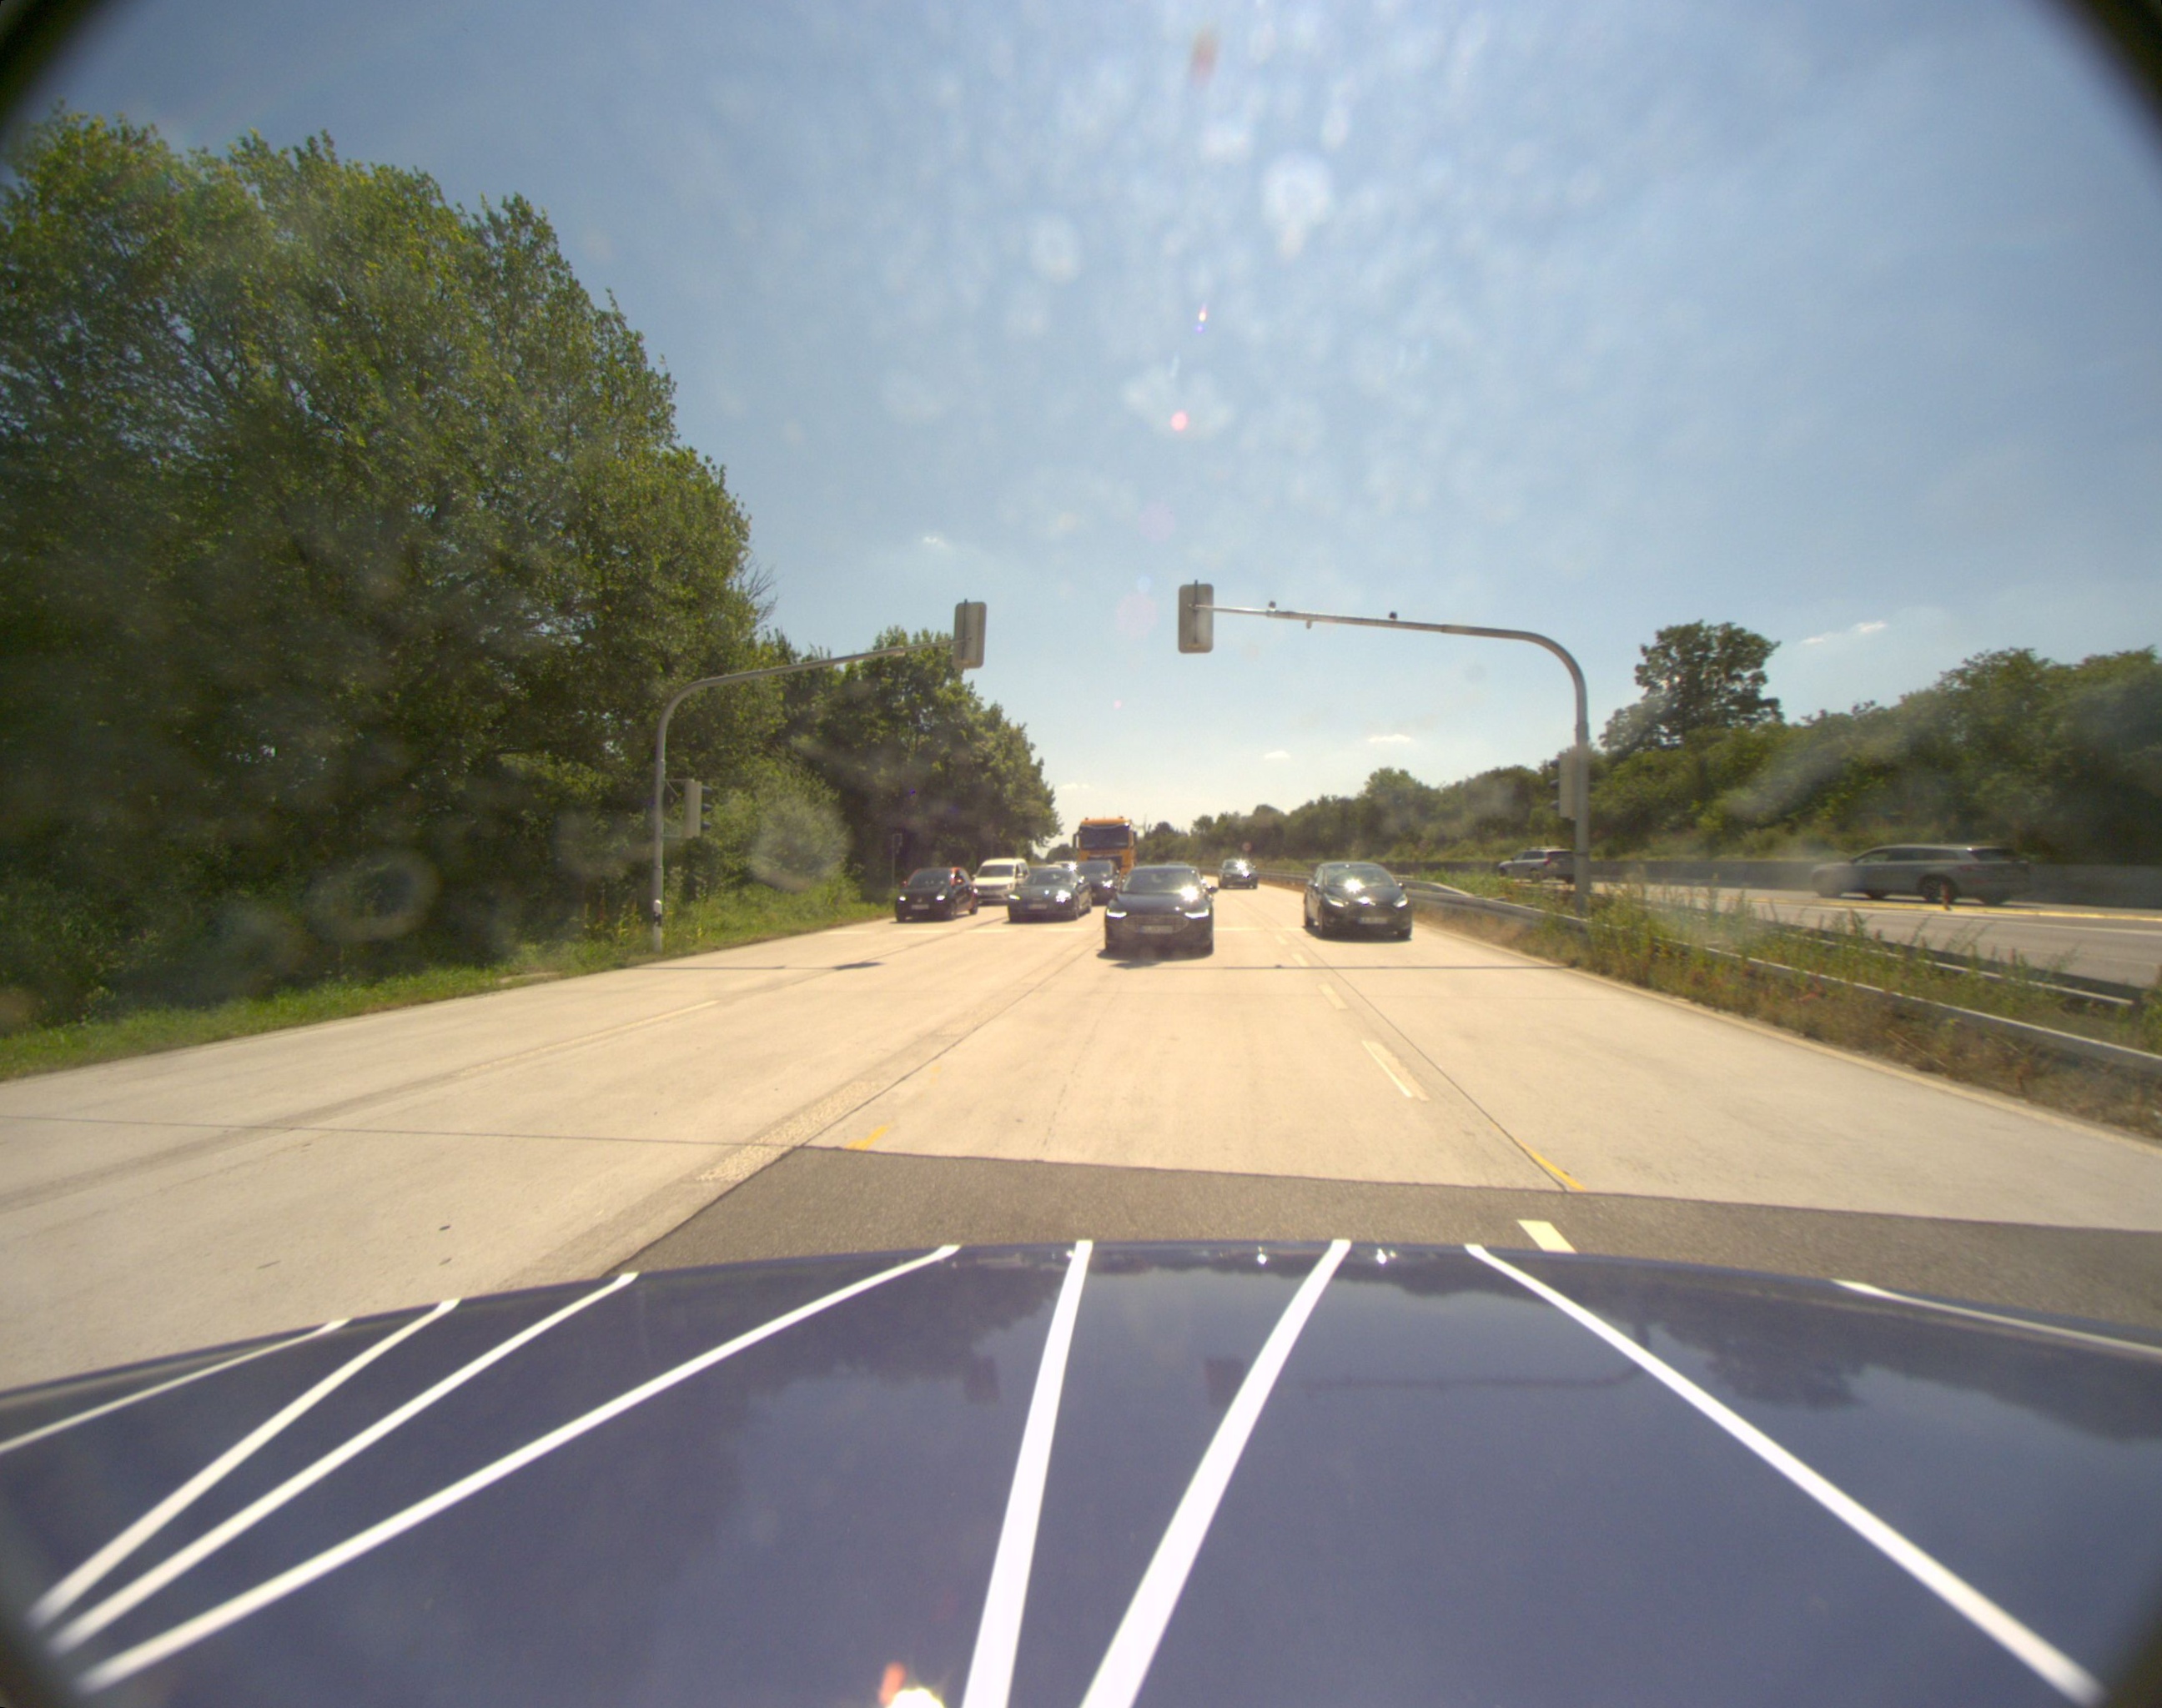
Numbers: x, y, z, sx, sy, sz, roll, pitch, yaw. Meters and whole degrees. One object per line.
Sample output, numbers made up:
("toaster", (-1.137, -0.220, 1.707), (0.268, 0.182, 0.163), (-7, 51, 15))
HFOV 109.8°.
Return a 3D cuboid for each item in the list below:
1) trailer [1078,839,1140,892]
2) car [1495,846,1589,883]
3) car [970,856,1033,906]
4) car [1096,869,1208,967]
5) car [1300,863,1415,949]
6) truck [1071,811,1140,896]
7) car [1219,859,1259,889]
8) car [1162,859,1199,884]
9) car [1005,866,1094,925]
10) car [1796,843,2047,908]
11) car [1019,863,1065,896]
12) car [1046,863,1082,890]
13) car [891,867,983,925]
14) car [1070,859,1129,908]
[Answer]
("trailer", (1.996, 0.620, 45.976), (3.034, 2.578, 16.362), (-1, 0, 4))
("car", (23.592, 0.512, 39.144), (1.998, 1.762, 4.858), (-1, 0, 2))
("car", (-3.126, 1.018, 30.904), (1.771, 1.797, 4.793), (-1, 0, 3))
("car", (1.458, 1.050, 14.000), (1.729, 1.430, 4.307), (-1, 0, 10))
("car", (5.628, 0.982, 15.893), (1.626, 1.476, 4.003), (-1, 0, 11))
("truck", (1.366, -0.018, 37.582), (3.020, 3.750, 7.472), (-1, 0, 4))
("car", (8.443, 1.022, 40.867), (1.705, 1.456, 4.001), (-1, 0, 6))
("car", (6.080, 1.044, 46.811), (1.890, 1.456, 4.000), (-1, 0, 3))
("car", (-0.773, 1.110, 21.793), (1.771, 1.402, 4.612), (-1, 0, 7))
("car", (24.229, 0.559, 22.231), (1.999, 1.682, 4.654), (-1, 0, -6))
("car", (-1.928, 1.252, 38.711), (1.771, 1.453, 4.365), (-1, 0, 4))
("car", (-0.975, 1.312, 45.418), (1.771, 1.453, 4.599), (-1, 0, 3))
("car", (-4.225, 1.197, 22.860), (1.771, 1.500, 3.652), (-1, 0, 5))
("car", (0.775, 1.040, 28.792), (1.787, 1.630, 4.649), (-1, 0, 6))
